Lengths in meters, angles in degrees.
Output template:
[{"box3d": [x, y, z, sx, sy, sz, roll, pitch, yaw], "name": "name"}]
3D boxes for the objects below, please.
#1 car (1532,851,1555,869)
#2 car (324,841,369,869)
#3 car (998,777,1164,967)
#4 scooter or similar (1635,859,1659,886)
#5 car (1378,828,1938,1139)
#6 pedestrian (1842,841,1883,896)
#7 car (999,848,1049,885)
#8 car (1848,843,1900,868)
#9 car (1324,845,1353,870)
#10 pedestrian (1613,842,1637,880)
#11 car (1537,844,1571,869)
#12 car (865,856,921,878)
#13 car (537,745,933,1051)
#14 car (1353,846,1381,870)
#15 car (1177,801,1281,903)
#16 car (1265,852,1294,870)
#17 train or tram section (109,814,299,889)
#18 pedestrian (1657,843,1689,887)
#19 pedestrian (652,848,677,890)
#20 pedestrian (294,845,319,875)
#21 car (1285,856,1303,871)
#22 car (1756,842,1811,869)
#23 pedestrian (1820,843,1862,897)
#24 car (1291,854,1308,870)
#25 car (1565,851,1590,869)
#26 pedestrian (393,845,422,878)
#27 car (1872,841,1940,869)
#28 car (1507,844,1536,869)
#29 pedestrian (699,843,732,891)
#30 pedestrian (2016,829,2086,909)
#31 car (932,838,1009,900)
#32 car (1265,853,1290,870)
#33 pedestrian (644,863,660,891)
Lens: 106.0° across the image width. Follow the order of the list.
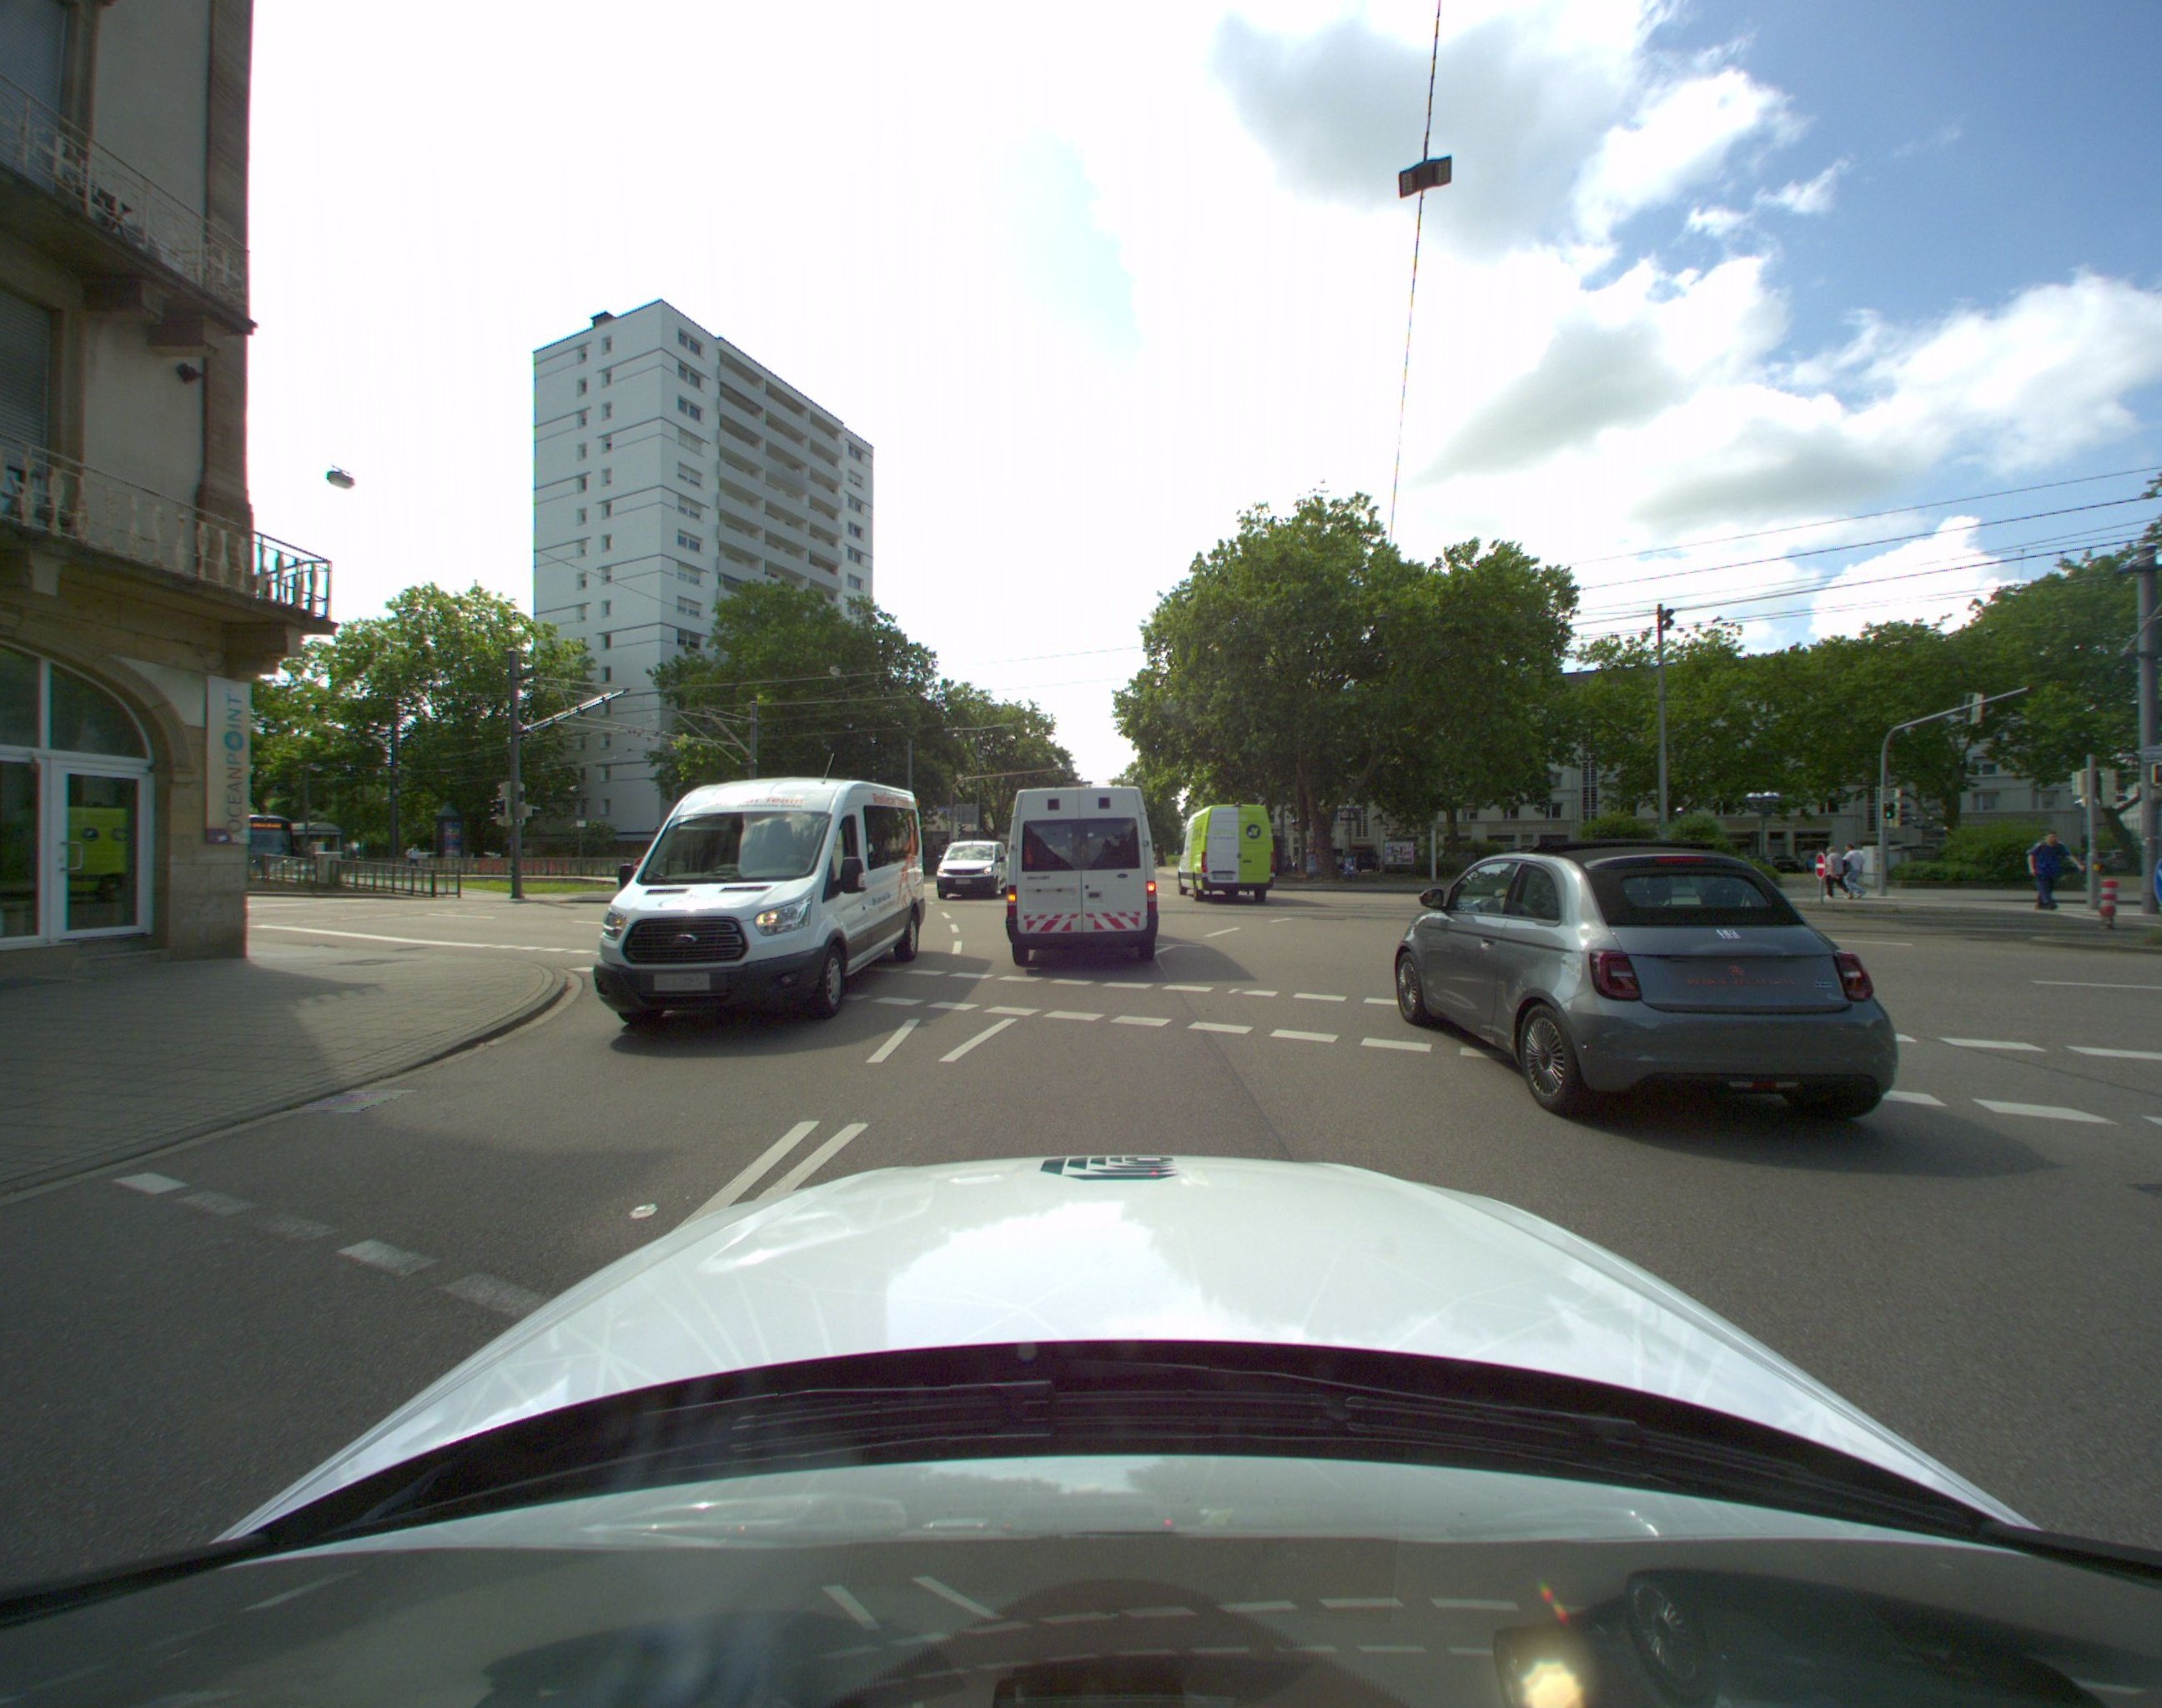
[{"box3d": [44.131, 0.583, 77.724, 1.722, 1.637, 4.024, -1, -1, 27], "name": "car"}, {"box3d": [-74.131, 0.158, 82.215, 4.226, 2.775, 1.823, 0, -1, 24], "name": "car"}, {"box3d": [-0.060, 0.203, 12.431, 2.042, 2.333, 4.711, 0, 0, -2], "name": "car"}, {"box3d": [21.998, 0.710, 31.635, 0.699, 1.056, 0.494, 0, 0, 27], "name": "scooter or similar"}, {"box3d": [3.499, 0.631, 5.794, 1.684, 1.538, 3.471, 0, 0, 3], "name": "car"}, {"box3d": [25.235, 0.465, 26.312, 0.665, 1.764, 0.693, 0, 0, 1], "name": "pedestrian"}, {"box3d": [-2.631, 0.540, 38.211, 1.762, 1.582, 4.025, 0, 1, 4], "name": "car"}, {"box3d": [65.790, 0.137, 67.672, 1.975, 1.964, 4.024, -1, -1, 27], "name": "car"}, {"box3d": [23.658, 0.336, 74.681, 1.975, 2.183, 4.282, 0, -1, 26], "name": "car"}, {"box3d": [25.287, 0.313, 37.842, 0.694, 1.750, 0.606, 0, 0, 1], "name": "pedestrian"}, {"box3d": [39.562, 0.224, 68.185, 1.976, 2.014, 4.022, -1, -1, 24], "name": "car"}, {"box3d": [-13.326, 0.907, 57.835, 3.592, 1.544, 1.540, 0, -1, -37], "name": "car"}, {"box3d": [-3.378, 0.299, 9.672, 2.070, 2.444, 5.944, -2, 1, 0], "name": "car"}, {"box3d": [25.988, 0.353, 73.933, 1.975, 2.076, 4.023, 0, -1, 26], "name": "car"}, {"box3d": [4.240, -0.061, 24.432, 2.112, 2.641, 6.330, 0, 0, 1], "name": "car"}, {"box3d": [18.902, 0.672, 77.449, 1.888, 1.690, 4.564, -1, -1, 23], "name": "car"}, {"box3d": [-46.192, -0.063, 42.727, 12.855, 3.584, 2.832, 0, -1, 25], "name": "train or tram section"}, {"box3d": [22.719, 0.416, 31.272, 0.911, 1.646, 0.573, 0, 0, 27], "name": "pedestrian"}, {"box3d": [-16.398, 0.583, 32.053, 0.667, 1.666, 0.630, 0, 0, 36], "name": "pedestrian"}, {"box3d": [-47.403, 0.372, 49.851, 0.866, 1.775, 0.865, -1, -1, 25], "name": "pedestrian"}, {"box3d": [18.982, 0.837, 72.616, 1.454, 1.389, 3.080, 0, 0, 17], "name": "car"}, {"box3d": [53.224, 0.133, 61.795, 2.078, 1.905, 4.518, -1, -1, 27], "name": "car"}, {"box3d": [24.544, 0.514, 26.300, 0.715, 1.722, 0.693, 0, 0, 1], "name": "pedestrian"}, {"box3d": [23.463, 0.840, 87.564, 1.453, 1.666, 3.083, 0, -1, 21], "name": "car"}, {"box3d": [46.653, 0.555, 76.566, 1.722, 1.637, 4.024, -1, -1, 27], "name": "car"}, {"box3d": [-36.576, 0.407, 44.242, 1.032, 1.780, 0.856, 0, -1, 25], "name": "pedestrian"}, {"box3d": [59.310, 0.063, 58.660, 2.078, 1.905, 4.518, -1, -1, 27], "name": "car"}, {"box3d": [37.597, 0.226, 69.559, 1.975, 2.014, 4.024, -1, -1, 27], "name": "car"}, {"box3d": [-14.487, 0.507, 32.263, 0.836, 1.899, 0.834, -1, -1, 25], "name": "pedestrian"}, {"box3d": [21.597, 0.333, 18.156, 0.735, 1.731, 0.777, 0, 0, 25], "name": "pedestrian"}, {"box3d": [-3.427, 0.400, 26.000, 1.806, 1.775, 4.283, -1, 1, 0], "name": "car"}, {"box3d": [21.354, 0.772, 88.464, 1.889, 1.796, 4.746, -1, -1, 23], "name": "car"}, {"box3d": [-16.419, 0.884, 31.149, 0.431, 1.063, 0.423, -1, -1, 42], "name": "pedestrian"}]
